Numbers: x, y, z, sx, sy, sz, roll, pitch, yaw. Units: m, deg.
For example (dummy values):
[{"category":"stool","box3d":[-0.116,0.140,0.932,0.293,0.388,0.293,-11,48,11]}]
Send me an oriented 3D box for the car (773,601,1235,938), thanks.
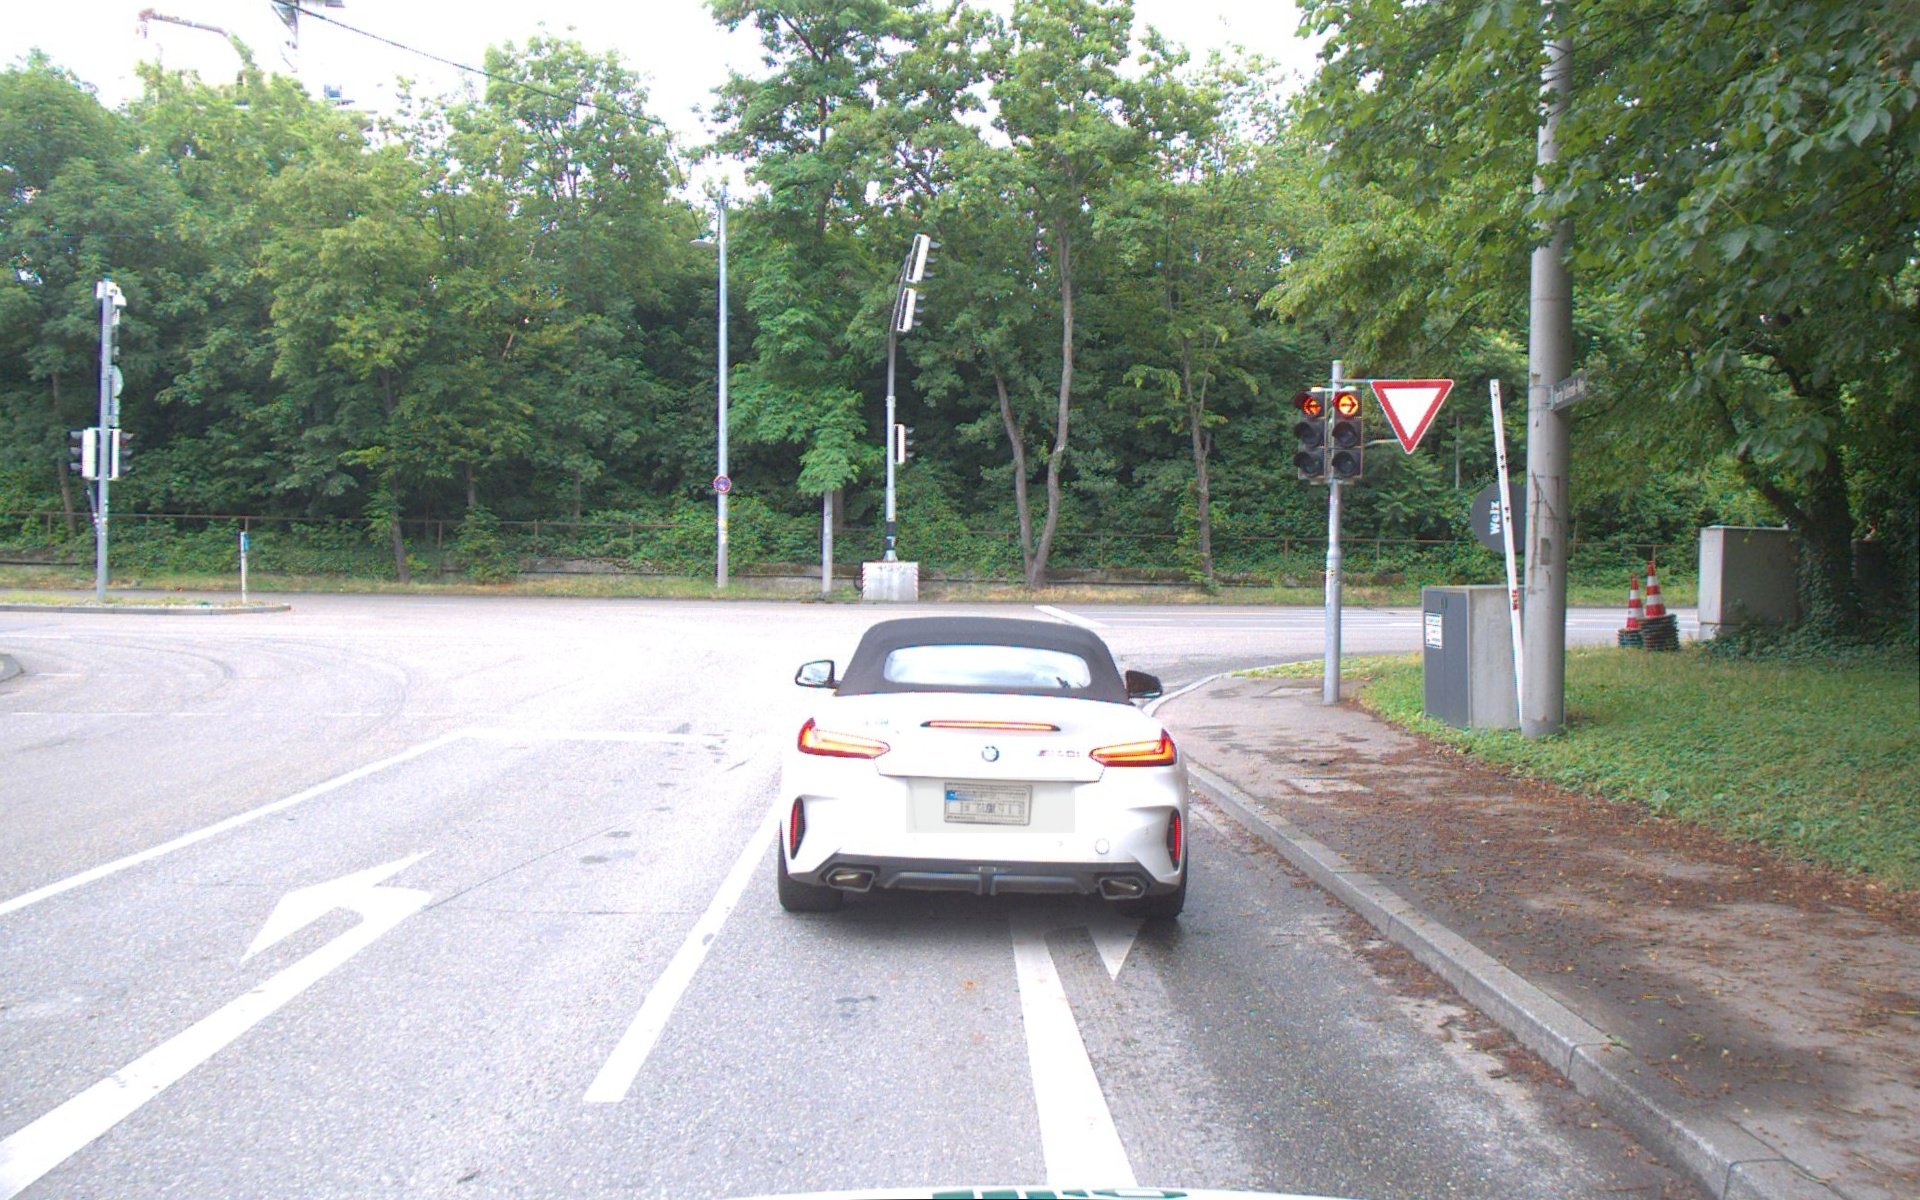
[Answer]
[{"category":"car","box3d":[0.082,0.703,8.517,1.791,1.279,3.997,2,-1,-3]}]
